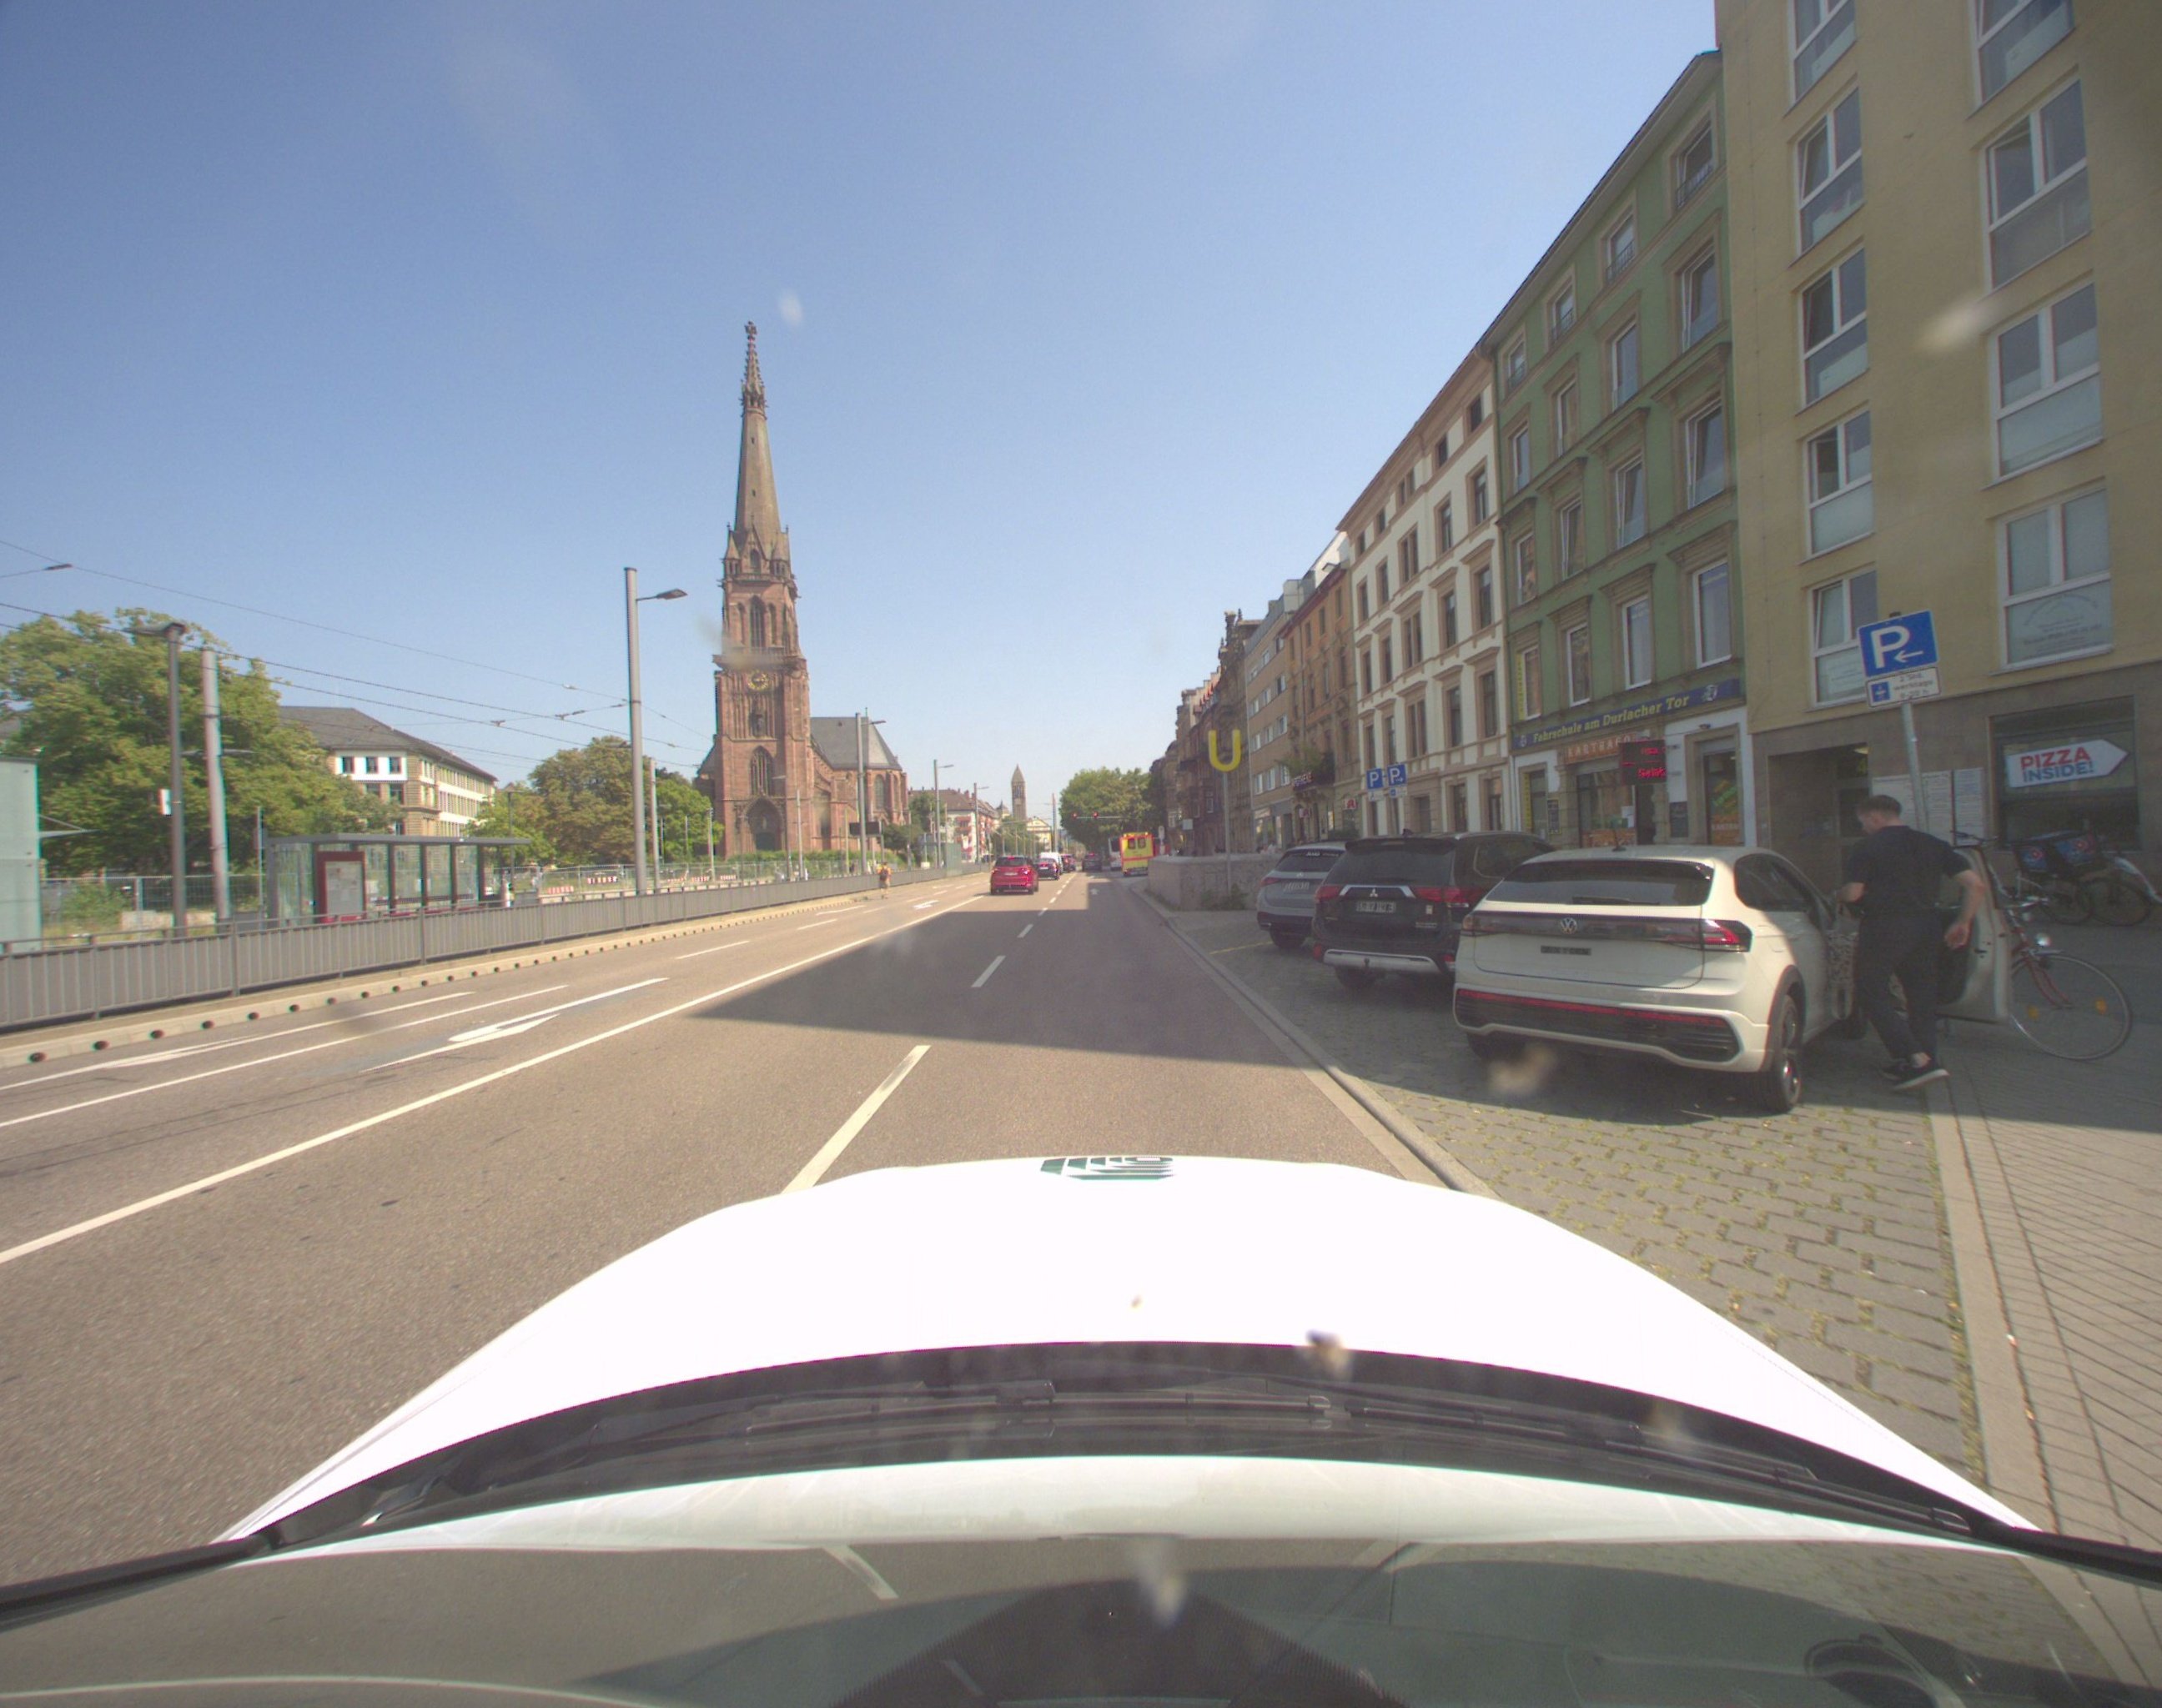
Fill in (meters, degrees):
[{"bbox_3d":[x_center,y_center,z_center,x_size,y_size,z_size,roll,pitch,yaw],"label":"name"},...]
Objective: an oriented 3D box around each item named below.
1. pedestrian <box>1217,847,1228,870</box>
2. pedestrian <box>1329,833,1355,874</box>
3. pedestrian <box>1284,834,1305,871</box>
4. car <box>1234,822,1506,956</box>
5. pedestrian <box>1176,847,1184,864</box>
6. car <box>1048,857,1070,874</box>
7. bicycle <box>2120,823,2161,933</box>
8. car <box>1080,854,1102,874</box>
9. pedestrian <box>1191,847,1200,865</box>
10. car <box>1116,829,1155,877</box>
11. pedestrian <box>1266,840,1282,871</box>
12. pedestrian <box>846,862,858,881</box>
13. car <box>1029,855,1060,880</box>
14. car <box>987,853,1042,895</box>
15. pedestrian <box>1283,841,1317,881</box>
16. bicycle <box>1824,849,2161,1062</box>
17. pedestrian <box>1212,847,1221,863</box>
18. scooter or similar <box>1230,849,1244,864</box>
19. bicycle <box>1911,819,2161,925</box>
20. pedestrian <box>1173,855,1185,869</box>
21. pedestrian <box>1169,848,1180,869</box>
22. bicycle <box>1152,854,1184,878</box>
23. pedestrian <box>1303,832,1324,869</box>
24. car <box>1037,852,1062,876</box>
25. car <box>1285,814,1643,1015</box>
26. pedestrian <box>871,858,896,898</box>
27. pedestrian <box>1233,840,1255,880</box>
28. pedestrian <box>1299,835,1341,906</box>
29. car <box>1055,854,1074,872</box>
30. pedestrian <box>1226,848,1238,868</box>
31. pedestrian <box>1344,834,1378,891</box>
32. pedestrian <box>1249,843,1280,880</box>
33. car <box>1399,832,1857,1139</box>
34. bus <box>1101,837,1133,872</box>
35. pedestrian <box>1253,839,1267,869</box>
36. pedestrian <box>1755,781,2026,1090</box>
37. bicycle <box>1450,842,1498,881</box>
[{"bbox_3d":[10.508,0.312,60.482,0.641,1.685,0.789,-2,0,0],"label":"pedestrian"},{"bbox_3d":[12.070,-0.026,37.681,0.841,1.846,0.684,-4,0,-9],"label":"pedestrian"},{"bbox_3d":[10.535,-0.100,40.249,0.682,1.773,1.017,-2,1,0],"label":"pedestrian"},{"bbox_3d":[4.742,0.427,12.978,4.691,1.713,2.019,-3,0,-42],"label":"car"},{"bbox_3d":[10.058,0.163,82.547,0.694,1.667,1.065,-2,0,2],"label":"pedestrian"},{"bbox_3d":[-1.938,1.023,72.835,1.785,1.472,3.998,-2,-1,-1],"label":"car"},{"bbox_3d":[12.666,0.262,8.375,0.935,1.238,2.425,-2,0,4],"label":"bicycle"},{"bbox_3d":[0.885,0.919,74.550,1.785,1.677,3.998,-2,-1,-1],"label":"car"},{"bbox_3d":[10.618,0.156,75.328,0.694,1.667,0.603,-2,0,2],"label":"pedestrian"},{"bbox_3d":[3.676,-0.058,54.217,2.288,2.888,5.606,-4,0,4],"label":"car"},{"bbox_3d":[11.703,0.084,49.426,0.597,1.795,0.880,-5,0,0],"label":"pedestrian"},{"bbox_3d":[-20.970,1.616,74.593,0.826,1.752,0.721,-2,-1,1],"label":"pedestrian"},{"bbox_3d":[-2.275,0.836,51.206,1.785,1.431,3.998,-3,0,-1],"label":"car"},{"bbox_3d":[-2.744,0.793,34.336,1.755,1.618,4.085,-3,0,2],"label":"car"},{"bbox_3d":[8.835,0.292,32.850,0.856,1.582,0.961,-2,-1,-33],"label":"pedestrian"},{"bbox_3d":[6.491,0.643,5.953,0.471,1.296,1.793,-3,-1,3],"label":"bicycle"},{"bbox_3d":[13.564,0.126,81.480,0.622,1.593,0.695,-3,0,-5],"label":"pedestrian"},{"bbox_3d":[12.793,0.240,66.902,0.514,1.196,1.296,-2,0,-19],"label":"scooter or similar"},{"bbox_3d":[12.757,0.201,10.880,0.935,1.238,2.425,-2,0,4],"label":"bicycle"},{"bbox_3d":[12.672,1.057,105.213,1.245,1.751,1.526,-2,2,1],"label":"pedestrian"},{"bbox_3d":[7.434,0.358,64.729,0.690,1.667,0.606,-2,0,26],"label":"pedestrian"},{"bbox_3d":[4.680,0.658,43.990,1.665,1.215,0.645,-2,0,6],"label":"bicycle"},{"bbox_3d":[11.420,-0.175,40.058,0.682,1.773,1.017,-2,1,0],"label":"pedestrian"},{"bbox_3d":[-2.473,0.802,64.960,1.785,1.780,3.998,-2,-1,-1],"label":"car"},{"bbox_3d":[4.422,0.464,9.067,4.416,1.687,1.963,-3,0,-42],"label":"car"},{"bbox_3d":[-8.959,1.075,36.963,0.757,1.752,1.070,-2,-1,4],"label":"pedestrian"},{"bbox_3d":[7.534,0.256,37.614,0.845,1.728,0.973,-4,2,7],"label":"pedestrian"},{"bbox_3d":[6.061,0.389,20.668,0.858,1.751,0.878,1,1,26],"label":"pedestrian"},{"bbox_3d":[-1.592,0.895,80.985,1.785,1.698,3.998,-2,-1,-1],"label":"car"},{"bbox_3d":[11.215,0.306,60.514,0.641,1.493,0.789,-2,0,0],"label":"pedestrian"},{"bbox_3d":[8.712,0.255,25.352,0.668,1.685,0.943,-3,0,0],"label":"pedestrian"},{"bbox_3d":[8.024,0.336,35.633,0.856,1.582,0.961,-2,-1,-33],"label":"pedestrian"},{"bbox_3d":[4.108,0.618,5.885,3.805,1.500,1.786,-1,1,-40],"label":"car"},{"bbox_3d":[3.373,0.030,78.915,2.525,3.032,12.436,-2,0,1],"label":"bus"},{"bbox_3d":[10.838,0.017,49.383,0.575,1.750,0.679,-5,0,0],"label":"pedestrian"},{"bbox_3d":[5.067,0.442,5.128,1.040,1.704,0.896,-1,0,-26],"label":"pedestrian"},{"bbox_3d":[13.081,0.219,27.188,0.478,1.146,2.473,-2,2,3],"label":"bicycle"}]
